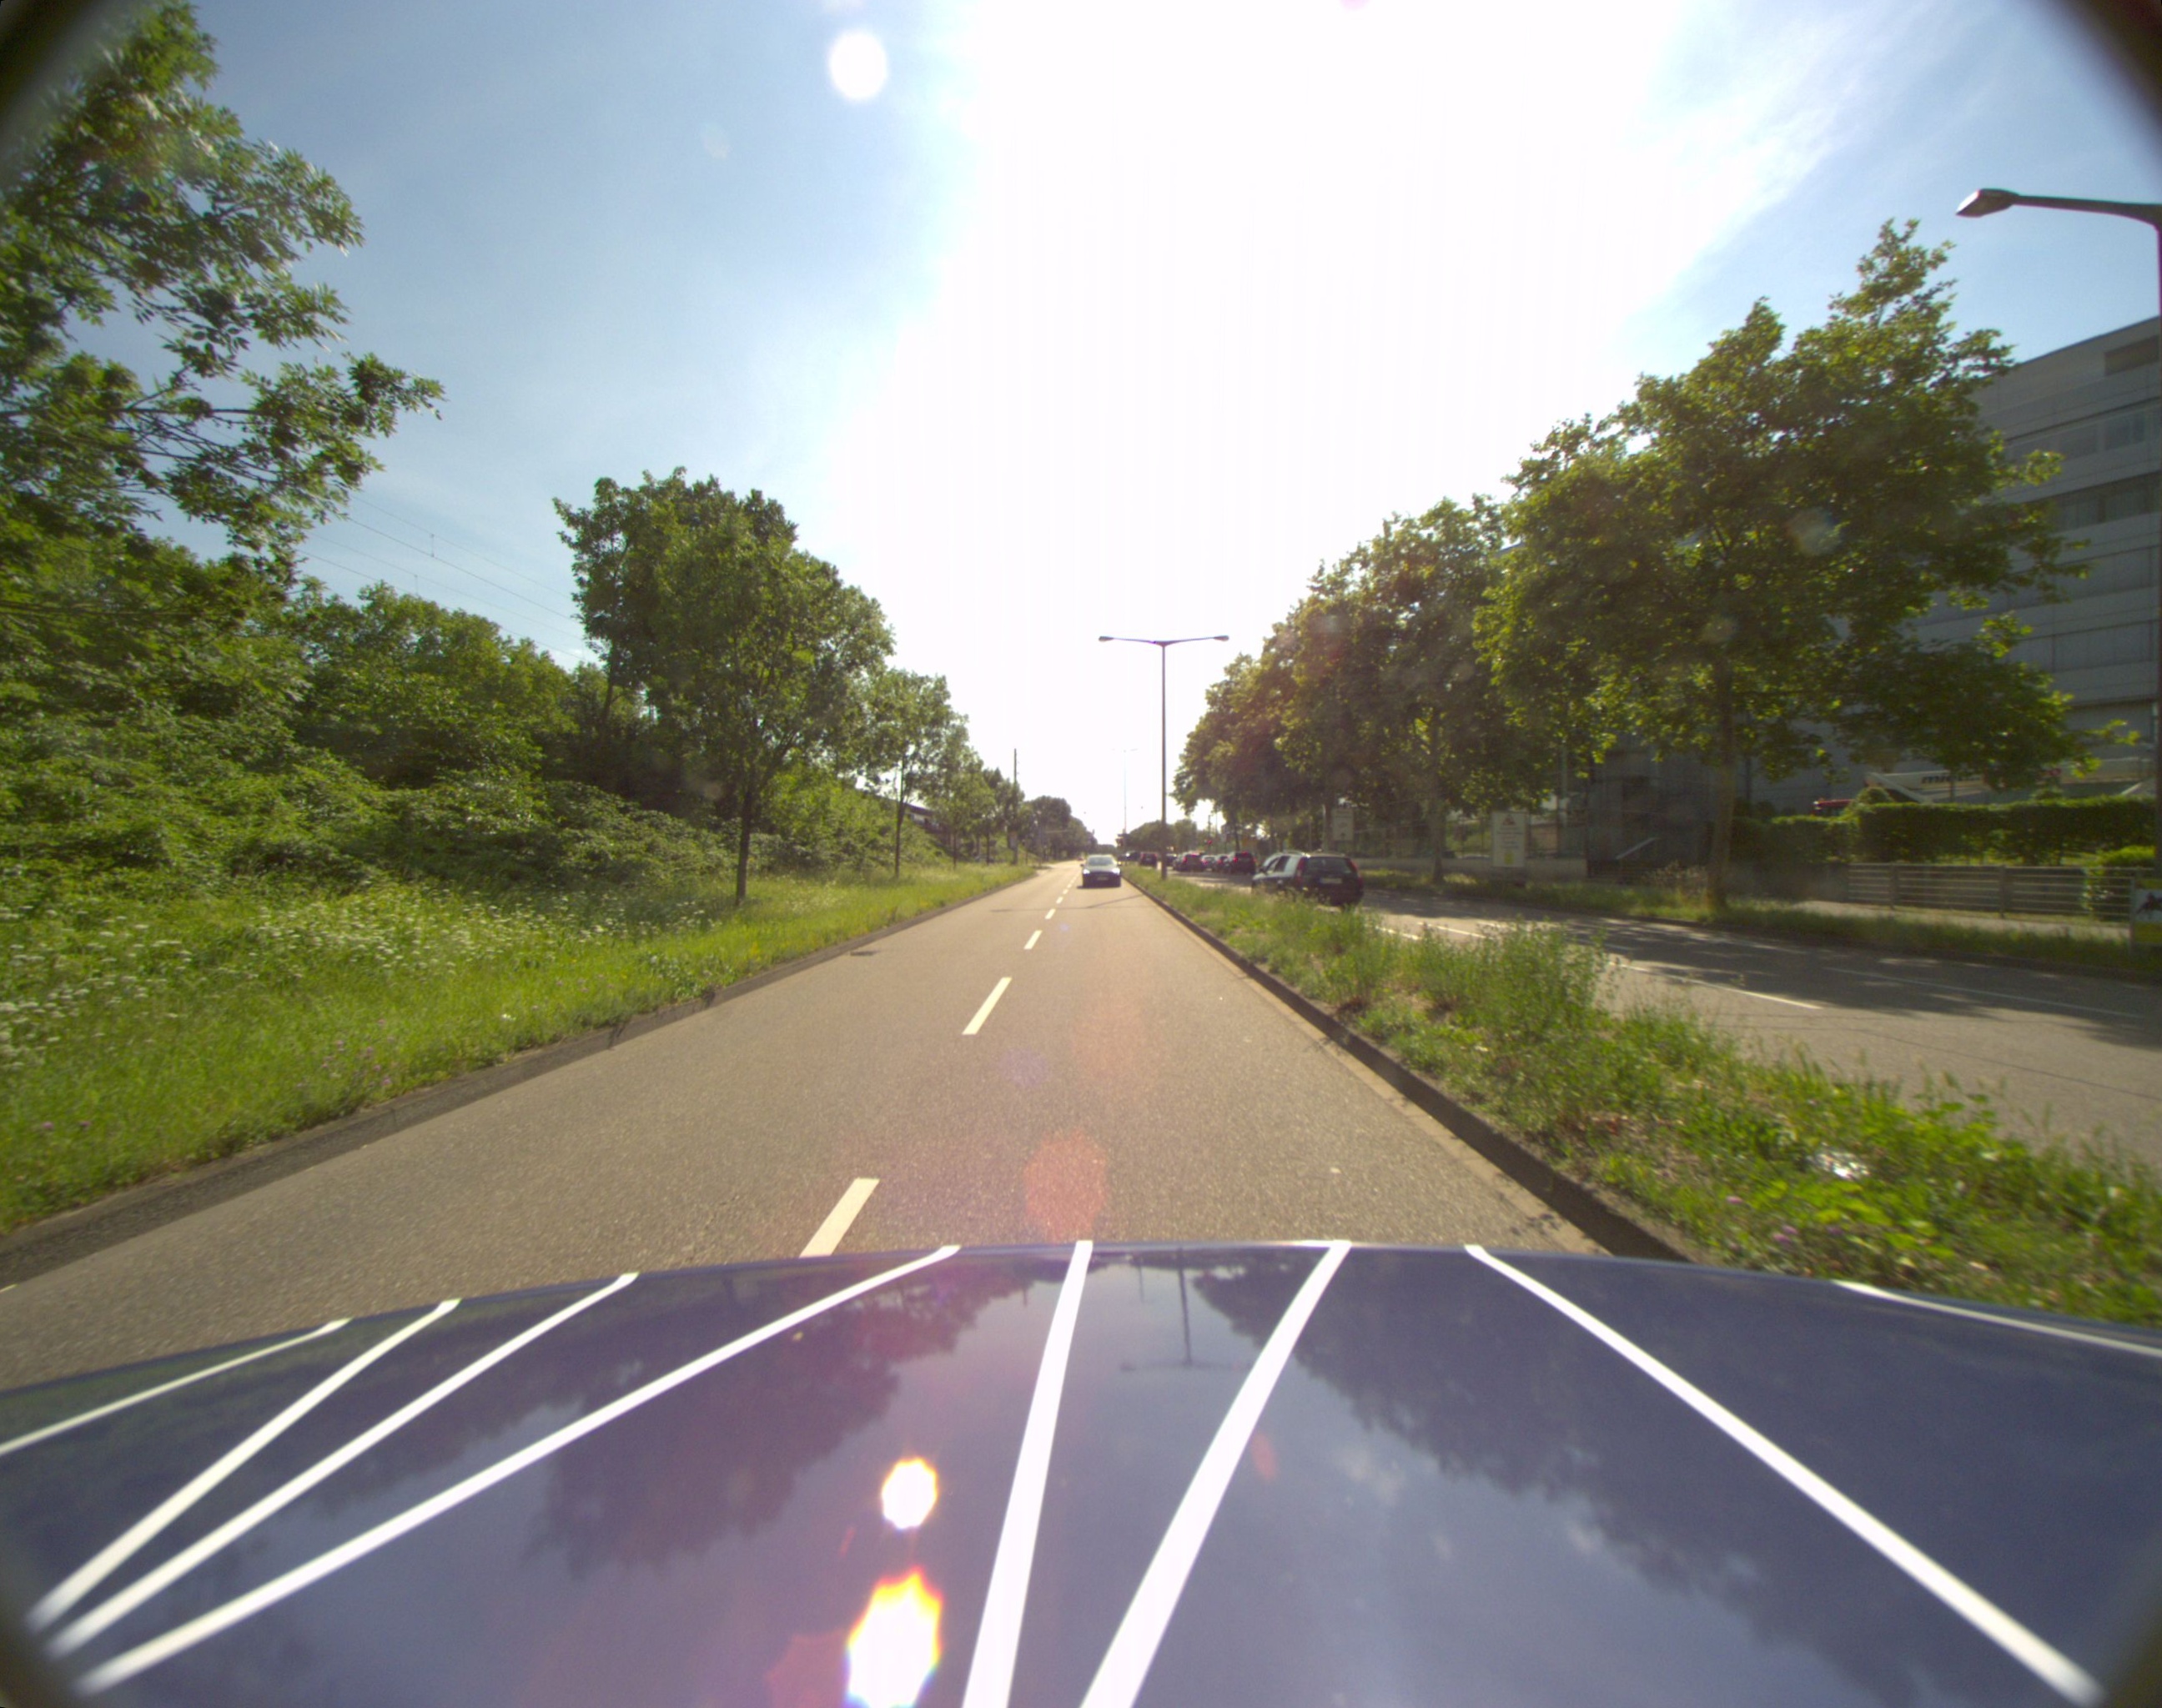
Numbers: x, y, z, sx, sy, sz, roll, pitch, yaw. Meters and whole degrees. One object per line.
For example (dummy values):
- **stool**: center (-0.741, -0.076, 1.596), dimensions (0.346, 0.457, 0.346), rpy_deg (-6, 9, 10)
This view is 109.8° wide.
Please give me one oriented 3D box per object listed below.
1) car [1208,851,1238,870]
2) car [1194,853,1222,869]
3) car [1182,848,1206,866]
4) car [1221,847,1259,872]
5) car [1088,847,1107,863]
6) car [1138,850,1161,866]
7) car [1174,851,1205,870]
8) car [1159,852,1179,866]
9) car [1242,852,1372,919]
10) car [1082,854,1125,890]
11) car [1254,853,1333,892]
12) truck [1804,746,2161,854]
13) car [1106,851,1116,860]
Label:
- **car**: center (12.397, 0.527, 66.653), dimensions (1.892, 1.581, 4.445), rpy_deg (1, 0, 1)
- **car**: center (12.227, 0.612, 73.332), dimensions (1.895, 1.441, 5.004), rpy_deg (1, 0, 1)
- **car**: center (12.215, 0.306, 82.431), dimensions (1.943, 1.908, 5.228), rpy_deg (0, 0, 0)
- **car**: center (12.415, 0.402, 59.501), dimensions (1.998, 1.824, 4.651), rpy_deg (1, 0, 0)
- **car**: center (1.740, 0.138, 83.044), dimensions (1.998, 1.699, 4.430), rpy_deg (0, 0, 0)
- **car**: center (6.835, 0.406, 76.341), dimensions (1.812, 1.606, 4.491), rpy_deg (0, 0, -1)
- **car**: center (9.138, 0.538, 64.074), dimensions (1.998, 1.601, 4.496), rpy_deg (0, 0, 0)
- **car**: center (9.424, 0.527, 81.462), dimensions (1.766, 1.467, 3.958), rpy_deg (0, 0, 0)
- **car**: center (5.582, 0.702, 19.417), dimensions (1.777, 1.459, 4.670), rpy_deg (1, 0, -2)
- **car**: center (0.960, 0.775, 34.627), dimensions (1.827, 1.498, 4.216), rpy_deg (0, 0, 0)
- **car**: center (8.772, 0.708, 31.860), dimensions (1.832, 1.459, 4.987), rpy_deg (0, 0, -1)
- **truck**: center (32.833, -1.717, 27.733), dimensions (2.678, 3.376, 8.965), rpy_deg (-1, 1, -36)
- **car**: center (5.687, 0.283, 144.309), dimensions (1.714, 1.498, 4.003), rpy_deg (-1, -2, 6)
